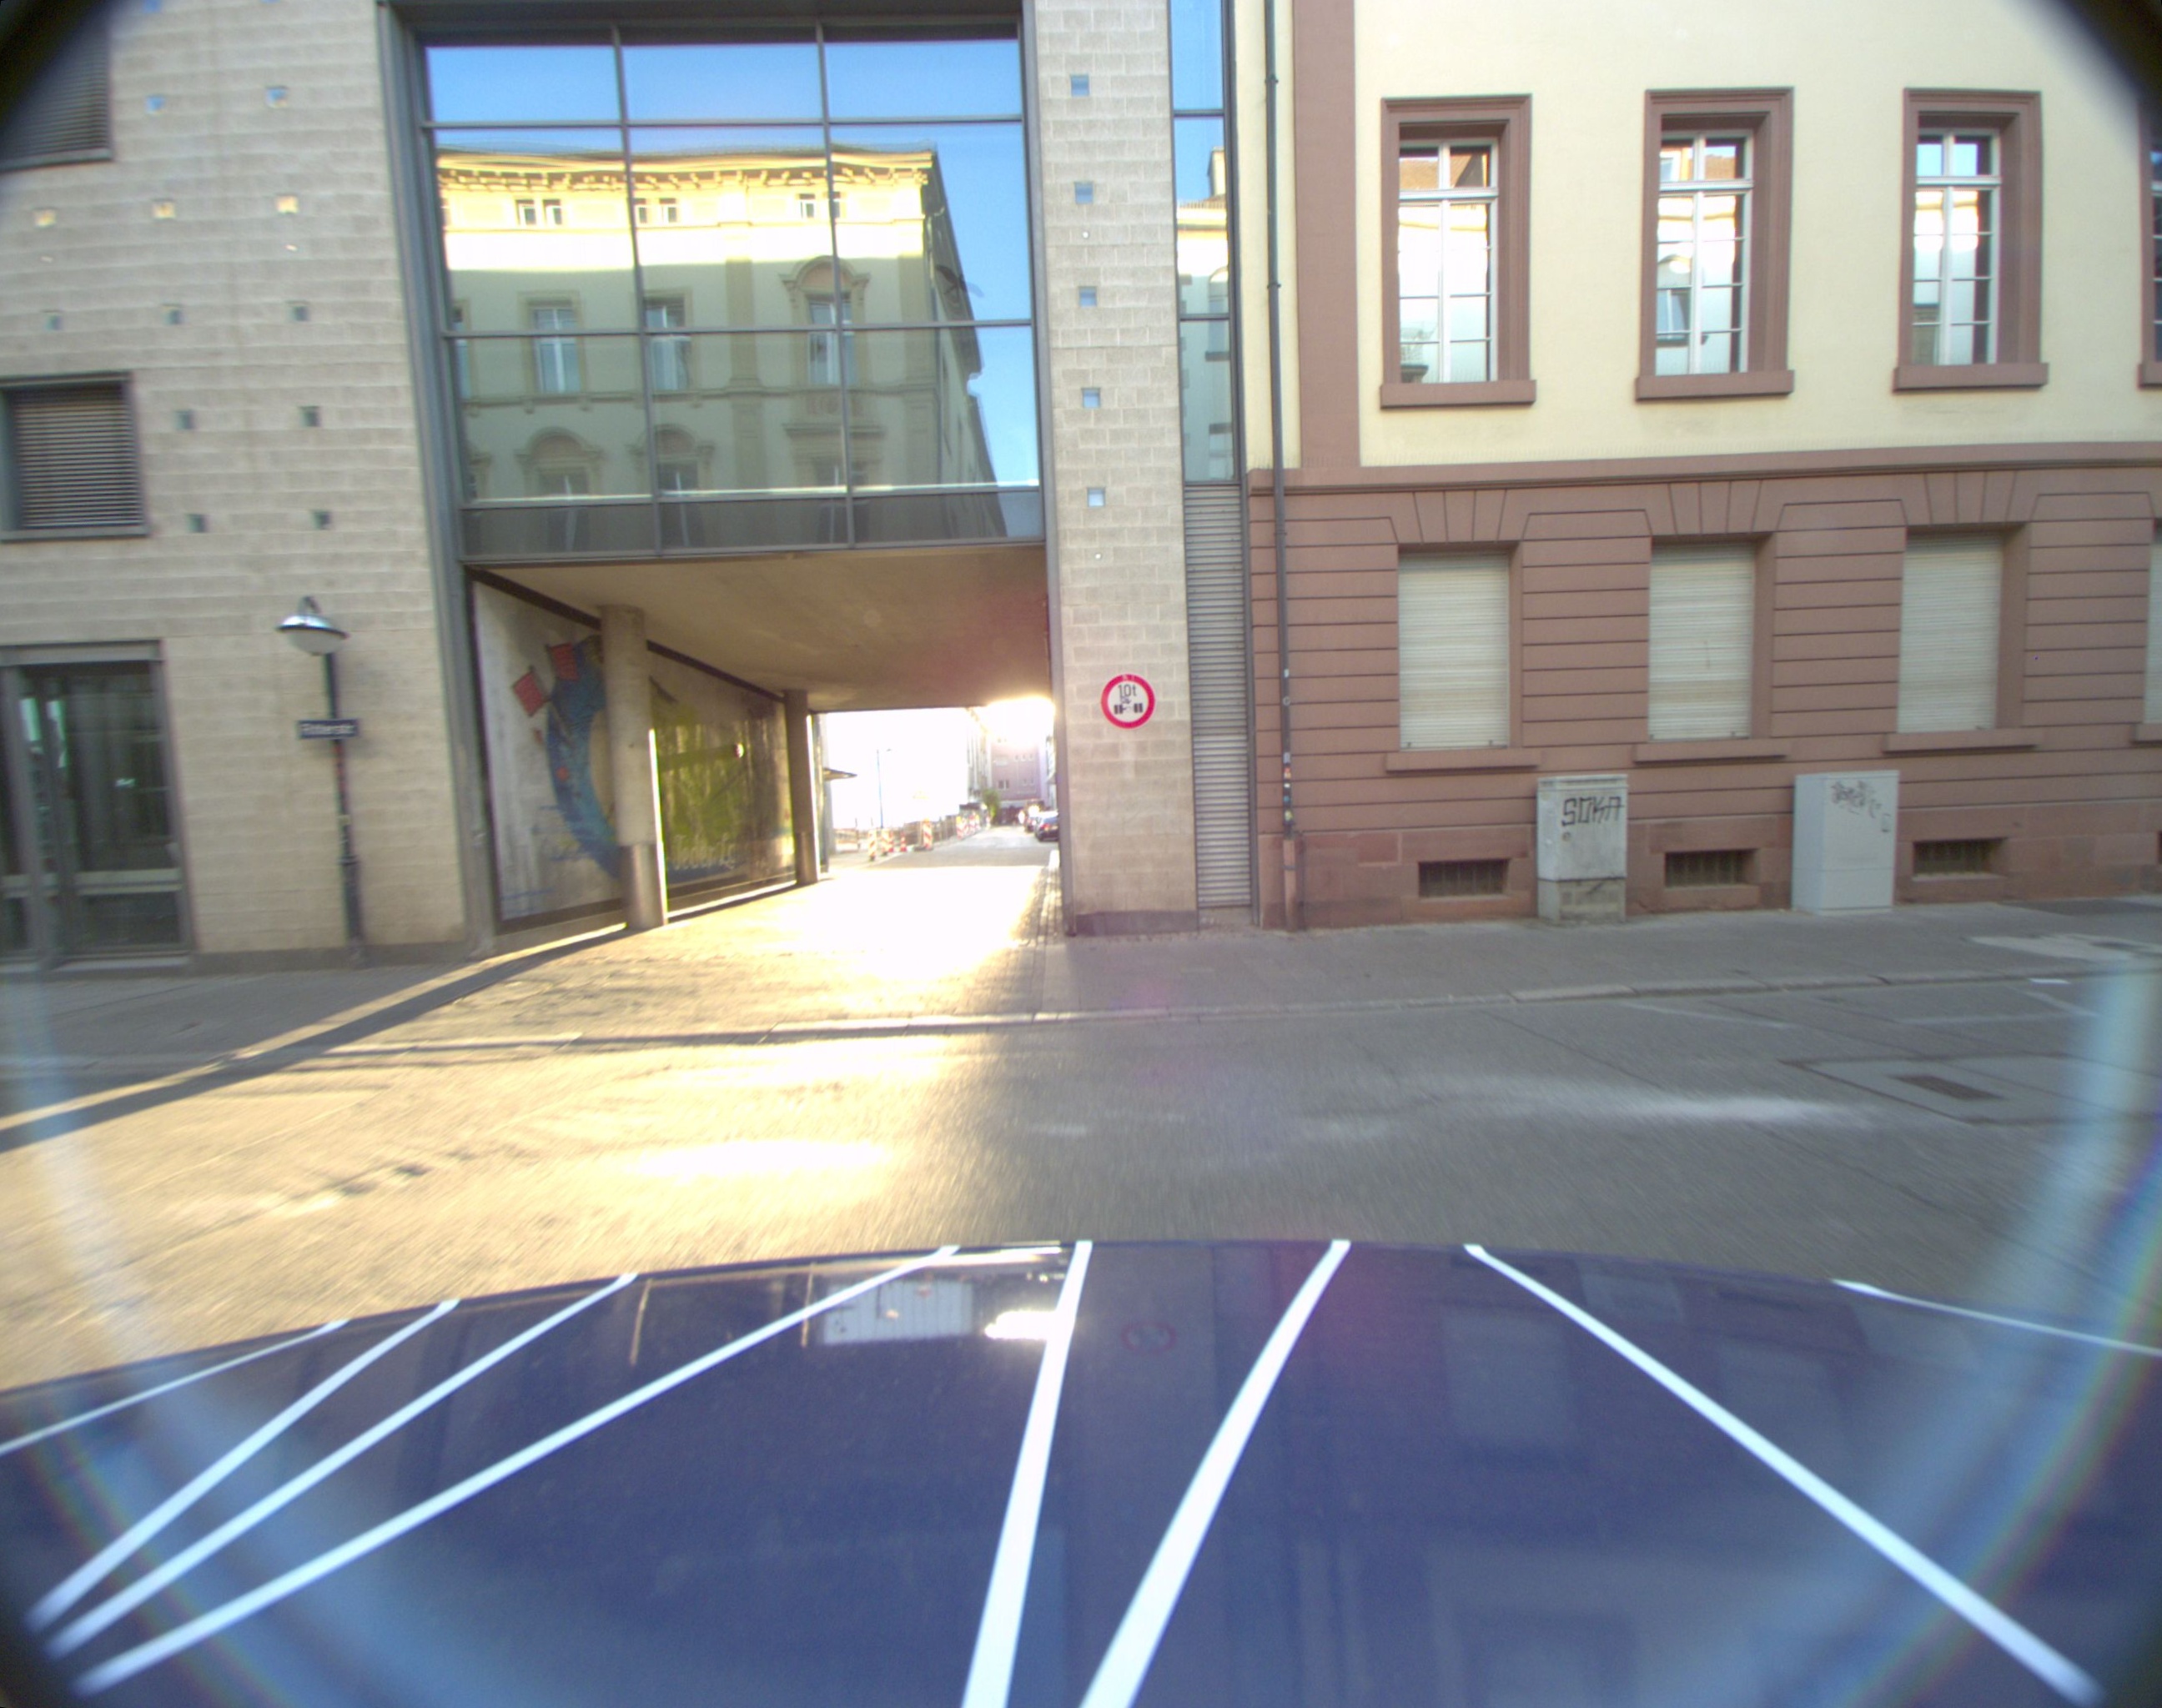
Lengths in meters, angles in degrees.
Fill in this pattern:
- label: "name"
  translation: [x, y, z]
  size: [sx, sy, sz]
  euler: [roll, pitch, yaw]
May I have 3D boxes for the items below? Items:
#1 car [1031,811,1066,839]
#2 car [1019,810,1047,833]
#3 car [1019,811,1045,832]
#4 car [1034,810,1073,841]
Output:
- label: "car"
  translation: [-1.925, -1.708, 43.815]
  size: [1.602, 1.485, 3.440]
  euler: [-3, 3, -9]
- label: "car"
  translation: [-3.394, -2.313, 53.446]
  size: [1.602, 1.485, 3.440]
  euler: [-3, 3, -9]
- label: "car"
  translation: [-3.779, -2.529, 58.275]
  size: [1.602, 1.485, 3.440]
  euler: [-3, 3, -9]
- label: "car"
  translation: [-1.466, -1.492, 39.906]
  size: [1.602, 1.485, 3.440]
  euler: [-3, 3, -9]
